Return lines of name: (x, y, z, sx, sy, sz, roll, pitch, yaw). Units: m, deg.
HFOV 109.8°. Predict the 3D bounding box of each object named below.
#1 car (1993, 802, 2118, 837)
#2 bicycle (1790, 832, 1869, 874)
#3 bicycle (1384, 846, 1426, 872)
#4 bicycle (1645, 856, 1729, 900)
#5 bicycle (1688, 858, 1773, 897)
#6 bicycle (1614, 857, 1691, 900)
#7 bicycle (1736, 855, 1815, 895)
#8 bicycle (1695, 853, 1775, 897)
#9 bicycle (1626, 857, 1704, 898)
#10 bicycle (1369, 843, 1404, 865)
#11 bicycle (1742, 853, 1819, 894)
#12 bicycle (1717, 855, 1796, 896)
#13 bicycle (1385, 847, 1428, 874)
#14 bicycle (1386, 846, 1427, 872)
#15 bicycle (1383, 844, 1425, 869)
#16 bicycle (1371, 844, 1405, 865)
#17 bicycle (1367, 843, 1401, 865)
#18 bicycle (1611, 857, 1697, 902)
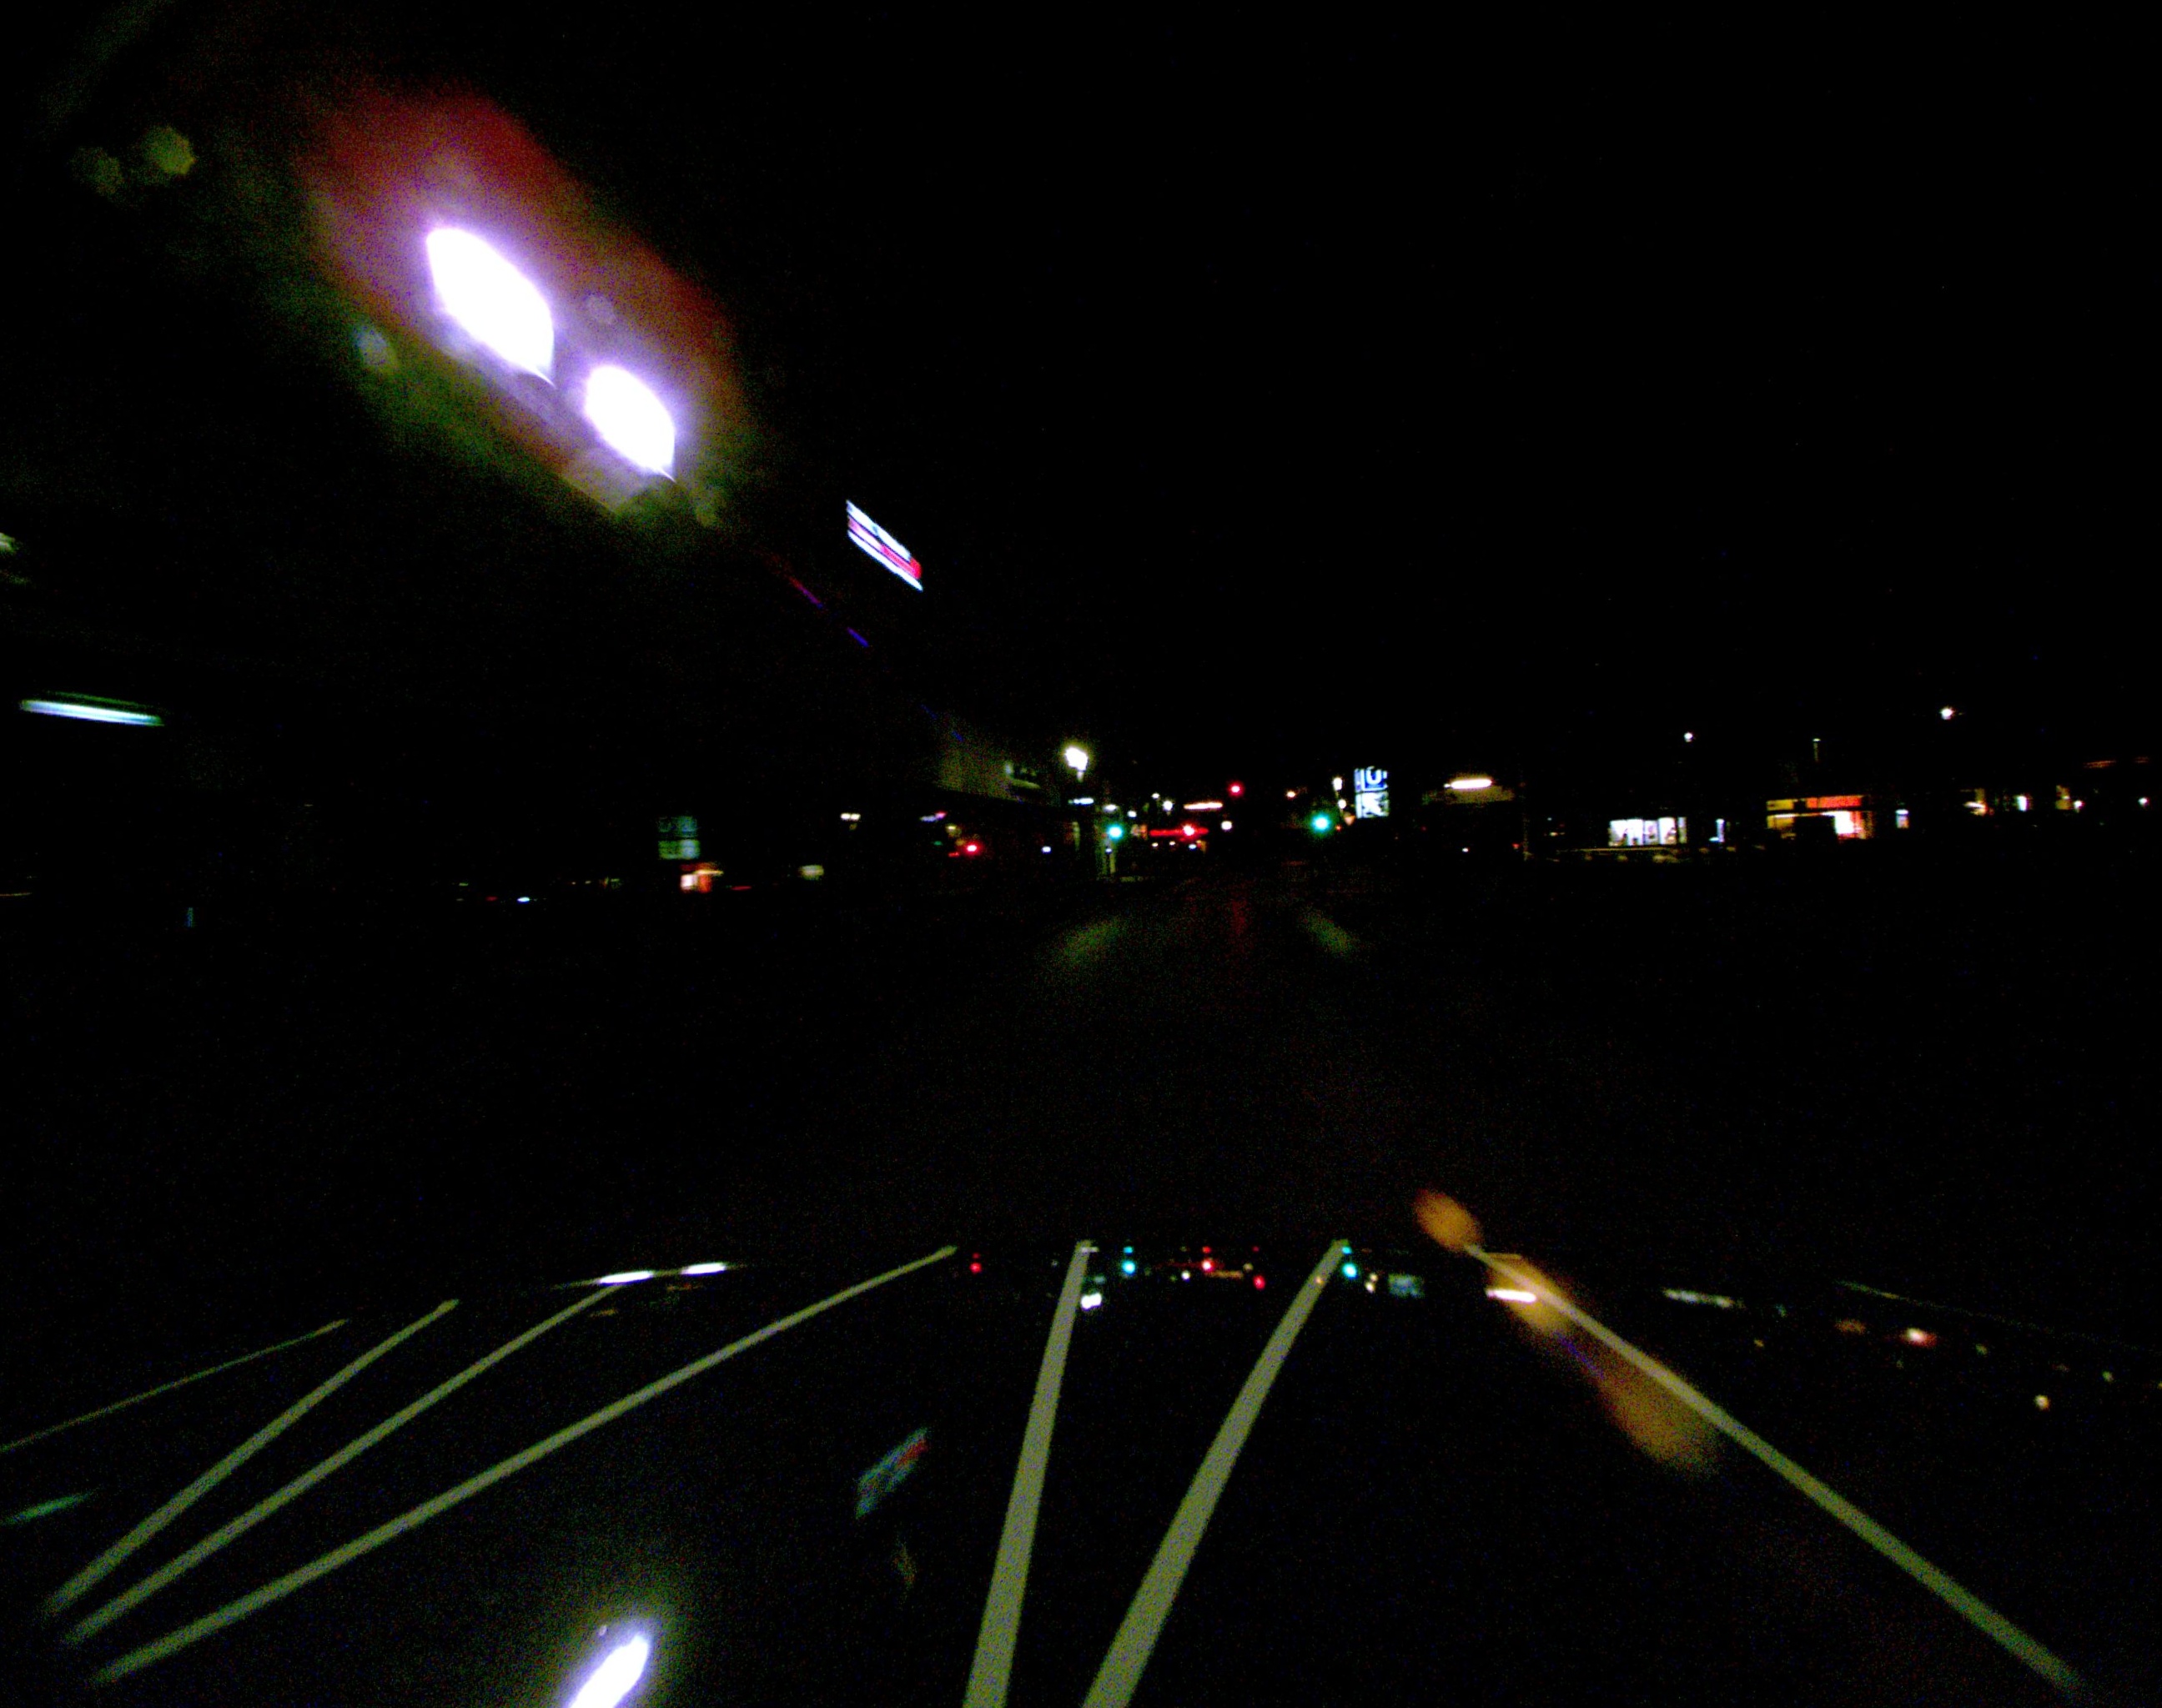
car: (61.228, -2.102, 47.842, 4.406, 1.925, 1.964, -1, -1, 29)
bicycle: (22.677, -0.022, 23.064, 0.608, 1.211, 1.747, -1, -1, -3)
bicycle: (14.635, 0.226, 34.350, 1.618, 1.099, 0.671, -2, 1, 14)
bicycle: (16.774, 0.665, 21.083, 0.609, 1.158, 1.745, -1, -1, -18)
bicycle: (18.527, 0.651, 21.724, 0.609, 1.063, 1.744, -1, -1, -21)
bicycle: (16.129, 0.689, 21.490, 0.545, 1.148, 1.745, -1, -1, -18)
bicycle: (20.077, 0.605, 22.004, 0.608, 1.094, 1.747, -1, -1, -3)
bicycle: (17.877, 0.566, 20.834, 0.608, 1.158, 1.747, -1, -1, -3)
bicycle: (17.052, 0.678, 22.230, 0.609, 1.158, 1.745, -1, -1, -18)
bicycle: (17.448, 0.003, 43.477, 1.737, 1.159, 0.788, -4, -1, 19)
bicycle: (20.796, 0.560, 22.628, 0.608, 1.158, 1.747, -1, -1, -3)
bicycle: (19.298, 0.606, 21.752, 0.608, 1.118, 1.747, -1, -1, -3)
bicycle: (14.162, 0.270, 33.119, 1.618, 1.099, 0.671, -2, 2, 14)
bicycle: (14.989, 0.219, 35.034, 1.618, 1.099, 0.671, -2, 2, 14)
bicycle: (15.705, 0.134, 36.993, 1.771, 1.157, 0.671, -2, 1, 14)
bicycle: (18.436, 0.028, 45.667, 1.836, 1.150, 0.788, -4, 1, 19)
bicycle: (17.685, -0.016, 44.313, 1.737, 1.150, 0.788, -4, 1, 19)
bicycle: (15.618, 0.685, 20.773, 0.762, 1.155, 1.745, -1, -1, -18)
